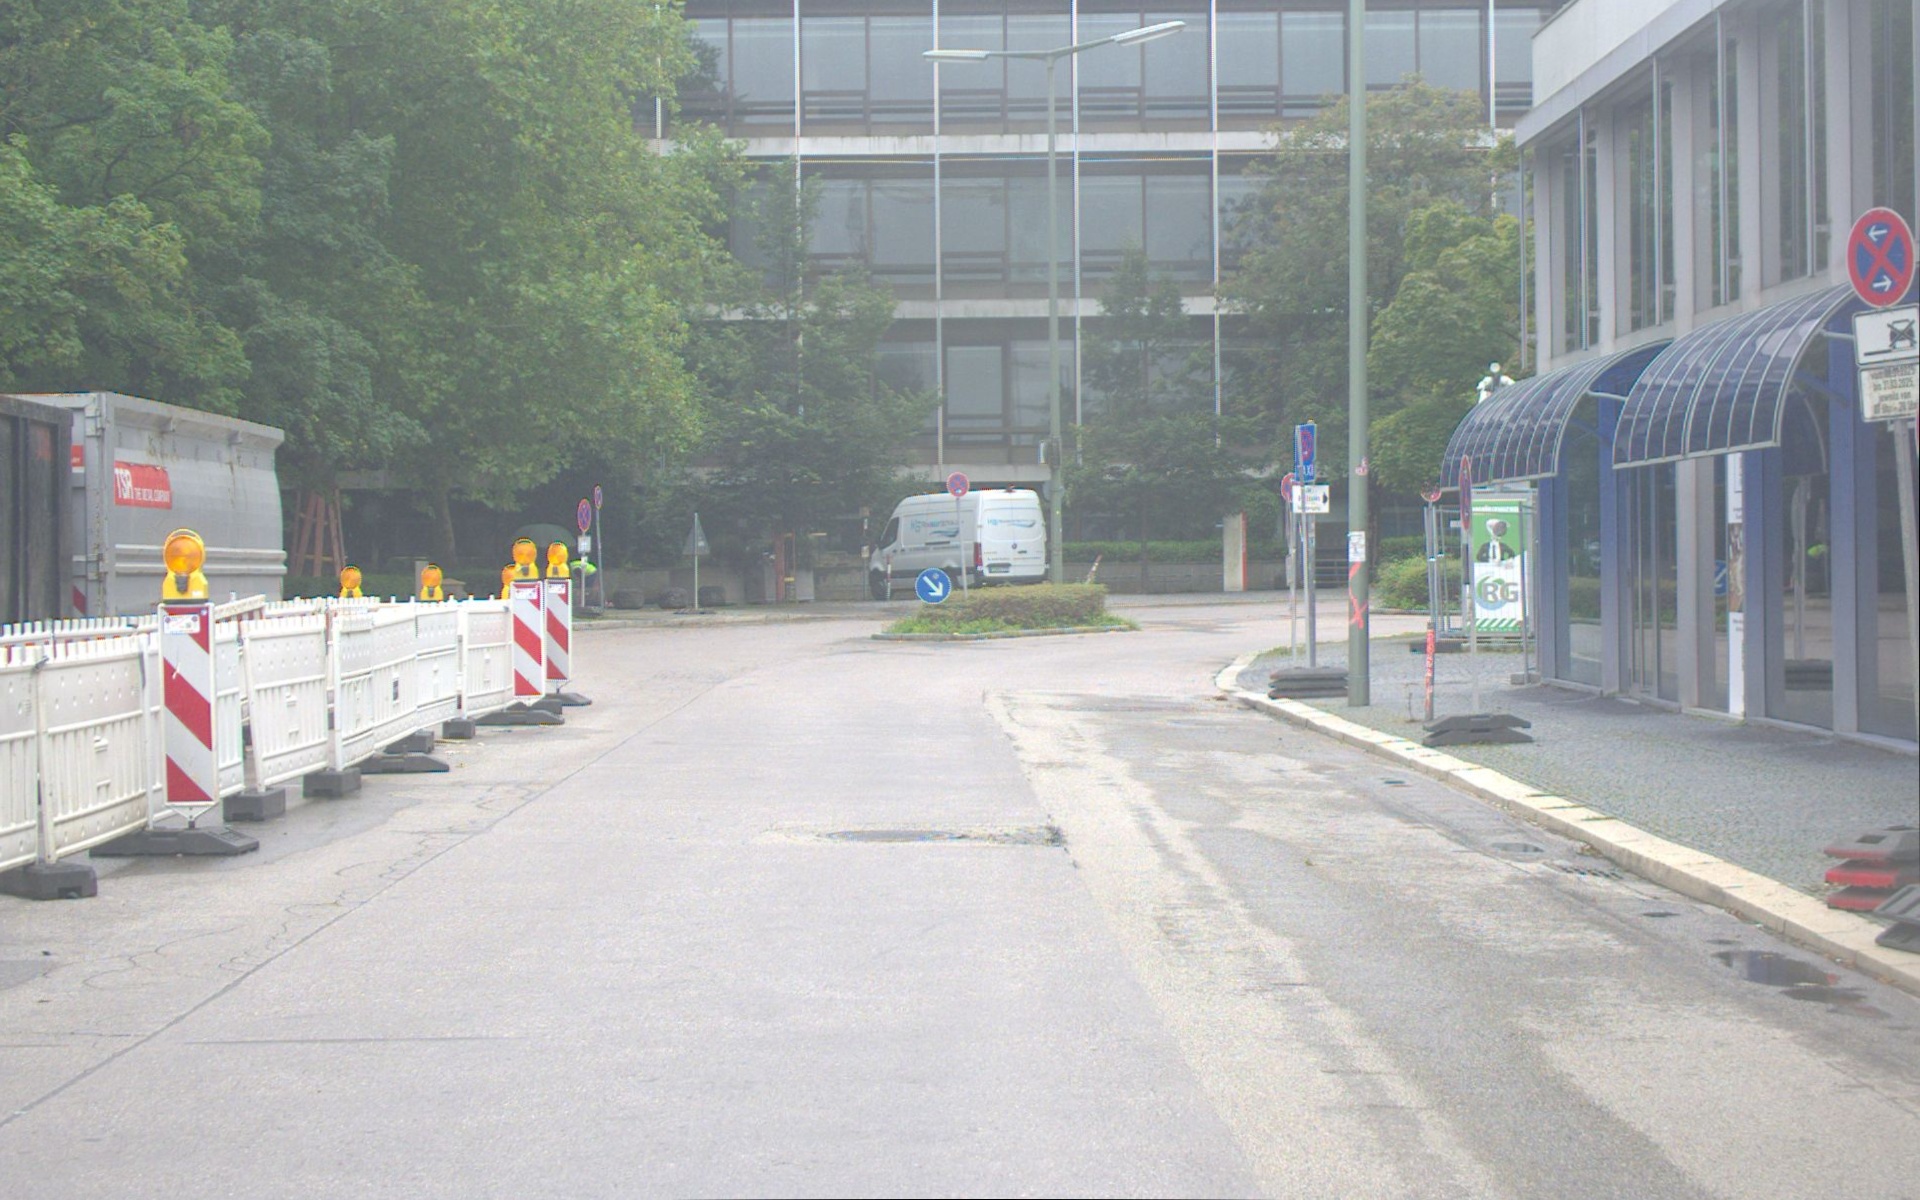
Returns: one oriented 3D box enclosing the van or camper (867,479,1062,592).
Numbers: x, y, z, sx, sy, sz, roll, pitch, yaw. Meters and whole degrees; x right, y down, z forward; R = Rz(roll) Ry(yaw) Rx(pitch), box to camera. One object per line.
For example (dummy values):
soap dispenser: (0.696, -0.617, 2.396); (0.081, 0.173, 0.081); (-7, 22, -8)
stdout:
van or camper: (0.039, -1.545, 84.800); (2.155, 2.572, 6.540); (-1, 0, -26)

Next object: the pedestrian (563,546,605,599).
pedestrian: (-9.033, -0.670, 82.677); (0.926, 1.273, 0.542); (0, 1, 2)

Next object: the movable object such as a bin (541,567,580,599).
movable object such as a bin: (-9.599, -0.417, 82.646); (0.834, 0.751, 0.572); (0, 1, 2)
